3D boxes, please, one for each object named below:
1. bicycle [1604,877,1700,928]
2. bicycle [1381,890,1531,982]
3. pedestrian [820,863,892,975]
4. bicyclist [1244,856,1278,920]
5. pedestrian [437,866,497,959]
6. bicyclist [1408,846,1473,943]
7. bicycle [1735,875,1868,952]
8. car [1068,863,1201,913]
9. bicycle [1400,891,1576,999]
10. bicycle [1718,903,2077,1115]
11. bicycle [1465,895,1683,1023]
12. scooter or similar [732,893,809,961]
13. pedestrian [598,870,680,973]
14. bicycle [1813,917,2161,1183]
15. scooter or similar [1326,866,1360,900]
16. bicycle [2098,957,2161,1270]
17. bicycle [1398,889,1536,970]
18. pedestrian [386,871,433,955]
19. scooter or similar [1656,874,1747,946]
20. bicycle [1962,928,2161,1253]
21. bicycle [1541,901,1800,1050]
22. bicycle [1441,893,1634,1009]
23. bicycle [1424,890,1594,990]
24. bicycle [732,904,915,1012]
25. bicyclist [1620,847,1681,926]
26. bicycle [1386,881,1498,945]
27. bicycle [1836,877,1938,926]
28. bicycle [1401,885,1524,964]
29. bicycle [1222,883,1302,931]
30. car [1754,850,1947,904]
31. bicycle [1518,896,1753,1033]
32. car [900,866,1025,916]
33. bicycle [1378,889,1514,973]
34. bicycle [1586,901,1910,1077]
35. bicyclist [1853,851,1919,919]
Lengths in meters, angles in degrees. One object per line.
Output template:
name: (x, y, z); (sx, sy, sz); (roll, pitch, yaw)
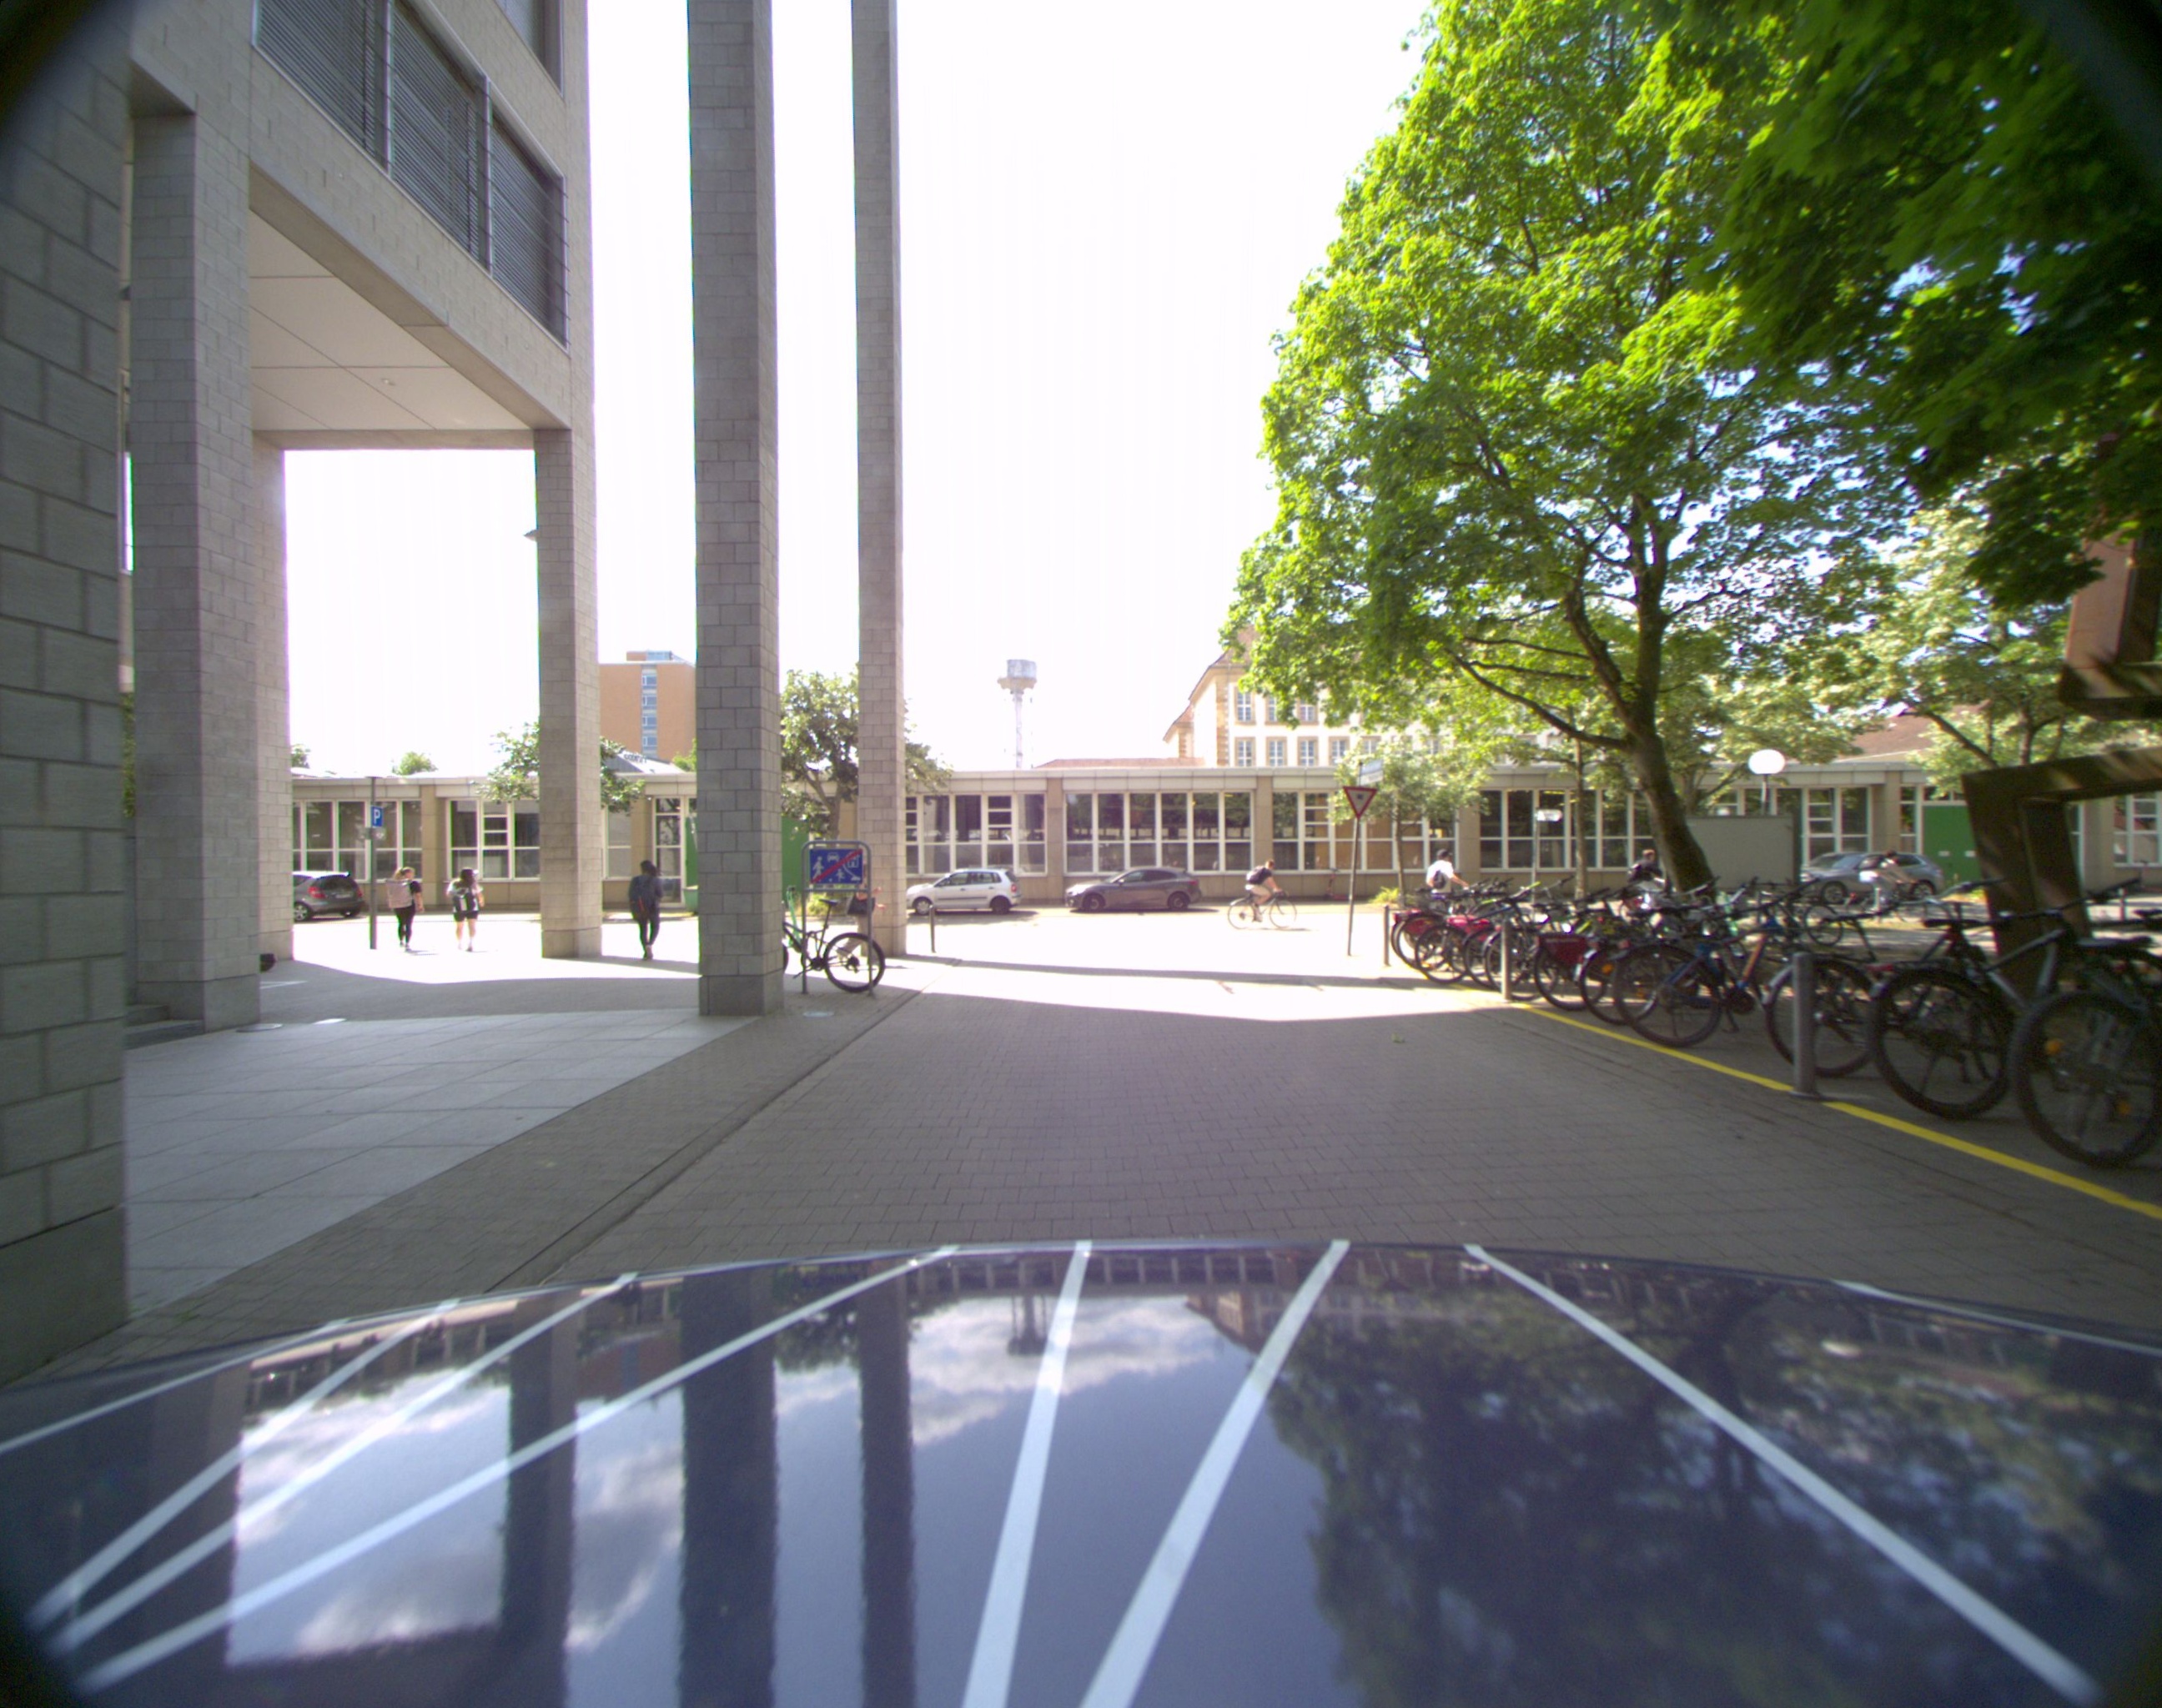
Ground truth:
bicycle: (13.999, 1.169, 18.647); (1.885, 1.134, 0.674); (-2, 1, -3)
bicycle: (4.727, 1.025, 9.629); (1.628, 1.101, 0.497); (-1, -1, 0)
pedestrian: (-3.406, 0.963, 11.554); (0.882, 1.645, 0.703); (-1, 0, -3)
bicyclist: (4.399, 0.831, 18.605); (0.727, 1.526, 0.605); (0, 2, 2)
pedestrian: (-11.887, 1.097, 14.711); (0.858, 1.714, 0.781); (-1, 0, 43)
bicyclist: (7.170, 0.784, 15.171); (0.867, 1.880, 0.805); (-1, 0, -7)
bicycle: (11.261, 0.918, 11.884); (1.839, 1.101, 0.393); (-2, 1, -6)
car: (1.702, 1.091, 24.975); (4.208, 1.468, 1.653); (-1, 2, 0)
bicycle: (4.451, 0.988, 8.375); (1.628, 1.101, 0.497); (-2, 1, 5)
bicycle: (4.902, 0.907, 4.616); (1.628, 1.144, 0.497); (-2, 1, 1)
bicycle: (4.647, 0.978, 7.240); (1.628, 1.101, 0.629); (-2, 1, 5)
scooter or similar: (-5.418, 1.266, 13.268); (1.157, 1.144, 0.444); (-1, 0, 5)
pedestrian: (-7.048, 1.043, 12.151); (0.820, 1.565, 0.880); (-1, 0, -5)
bicycle: (4.797, 0.925, 3.848); (1.629, 1.101, 0.645); (-2, 1, -5)
scooter or similar: (9.593, 1.062, 27.842); (1.157, 1.219, 0.290); (-1, 0, 3)
bicycle: (4.712, 0.931, 2.718); (1.629, 1.101, 0.497); (-2, 1, -5)
bicycle: (5.634, 1.077, 11.162); (1.742, 1.101, 0.591); (-2, -2, 28)
pedestrian: (-13.320, 1.142, 15.068); (0.824, 1.589, 0.591); (-1, 0, 42)
scooter or similar: (10.656, 0.944, 13.085); (1.182, 1.188, 0.293); (-1, 0, 36)
bicycle: (4.841, 0.920, 3.213); (1.784, 1.155, 0.497); (-2, 1, -5)
bicycle: (4.700, 0.963, 6.123); (1.628, 1.101, 0.497); (-2, 1, 5)
bicycle: (4.649, 0.984, 7.804); (1.628, 1.101, 0.497); (-2, 1, 5)
bicycle: (4.937, 0.984, 8.850); (1.627, 1.101, 0.497); (-1, -1, 12)
bicycle: (-2.915, 1.175, 8.735); (1.886, 1.157, 0.605); (1, -1, -4)
bicyclist: (13.968, 0.790, 18.647); (0.969, 1.877, 0.674); (-2, 1, -3)
bicycle: (7.201, 1.162, 15.188); (1.886, 1.165, 0.805); (-1, 0, -7)
bicycle: (19.210, 1.124, 18.133); (1.819, 1.102, 0.640); (0, 2, -4)
bicycle: (5.885, 1.067, 11.762); (1.625, 1.152, 0.641); (-2, -2, 29)
bicycle: (4.416, 1.294, 18.615); (1.829, 1.102, 0.605); (0, 2, 2)
car: (25.106, 0.721, 24.899); (4.536, 1.608, 1.837); (-1, 1, -2)
bicycle: (4.818, 0.955, 6.669); (1.628, 1.101, 0.506); (-2, 1, 5)
car: (-3.808, 1.191, 24.868); (3.776, 1.468, 1.653); (-1, 2, 0)
bicycle: (5.033, 1.049, 10.522); (1.628, 1.101, 0.497); (-1, -1, 0)
bicycle: (4.654, 0.929, 5.401); (1.628, 1.101, 0.691); (-2, 1, 5)
bicyclist: (19.182, 0.729, 18.112); (0.874, 1.565, 0.640); (0, 2, -3)
